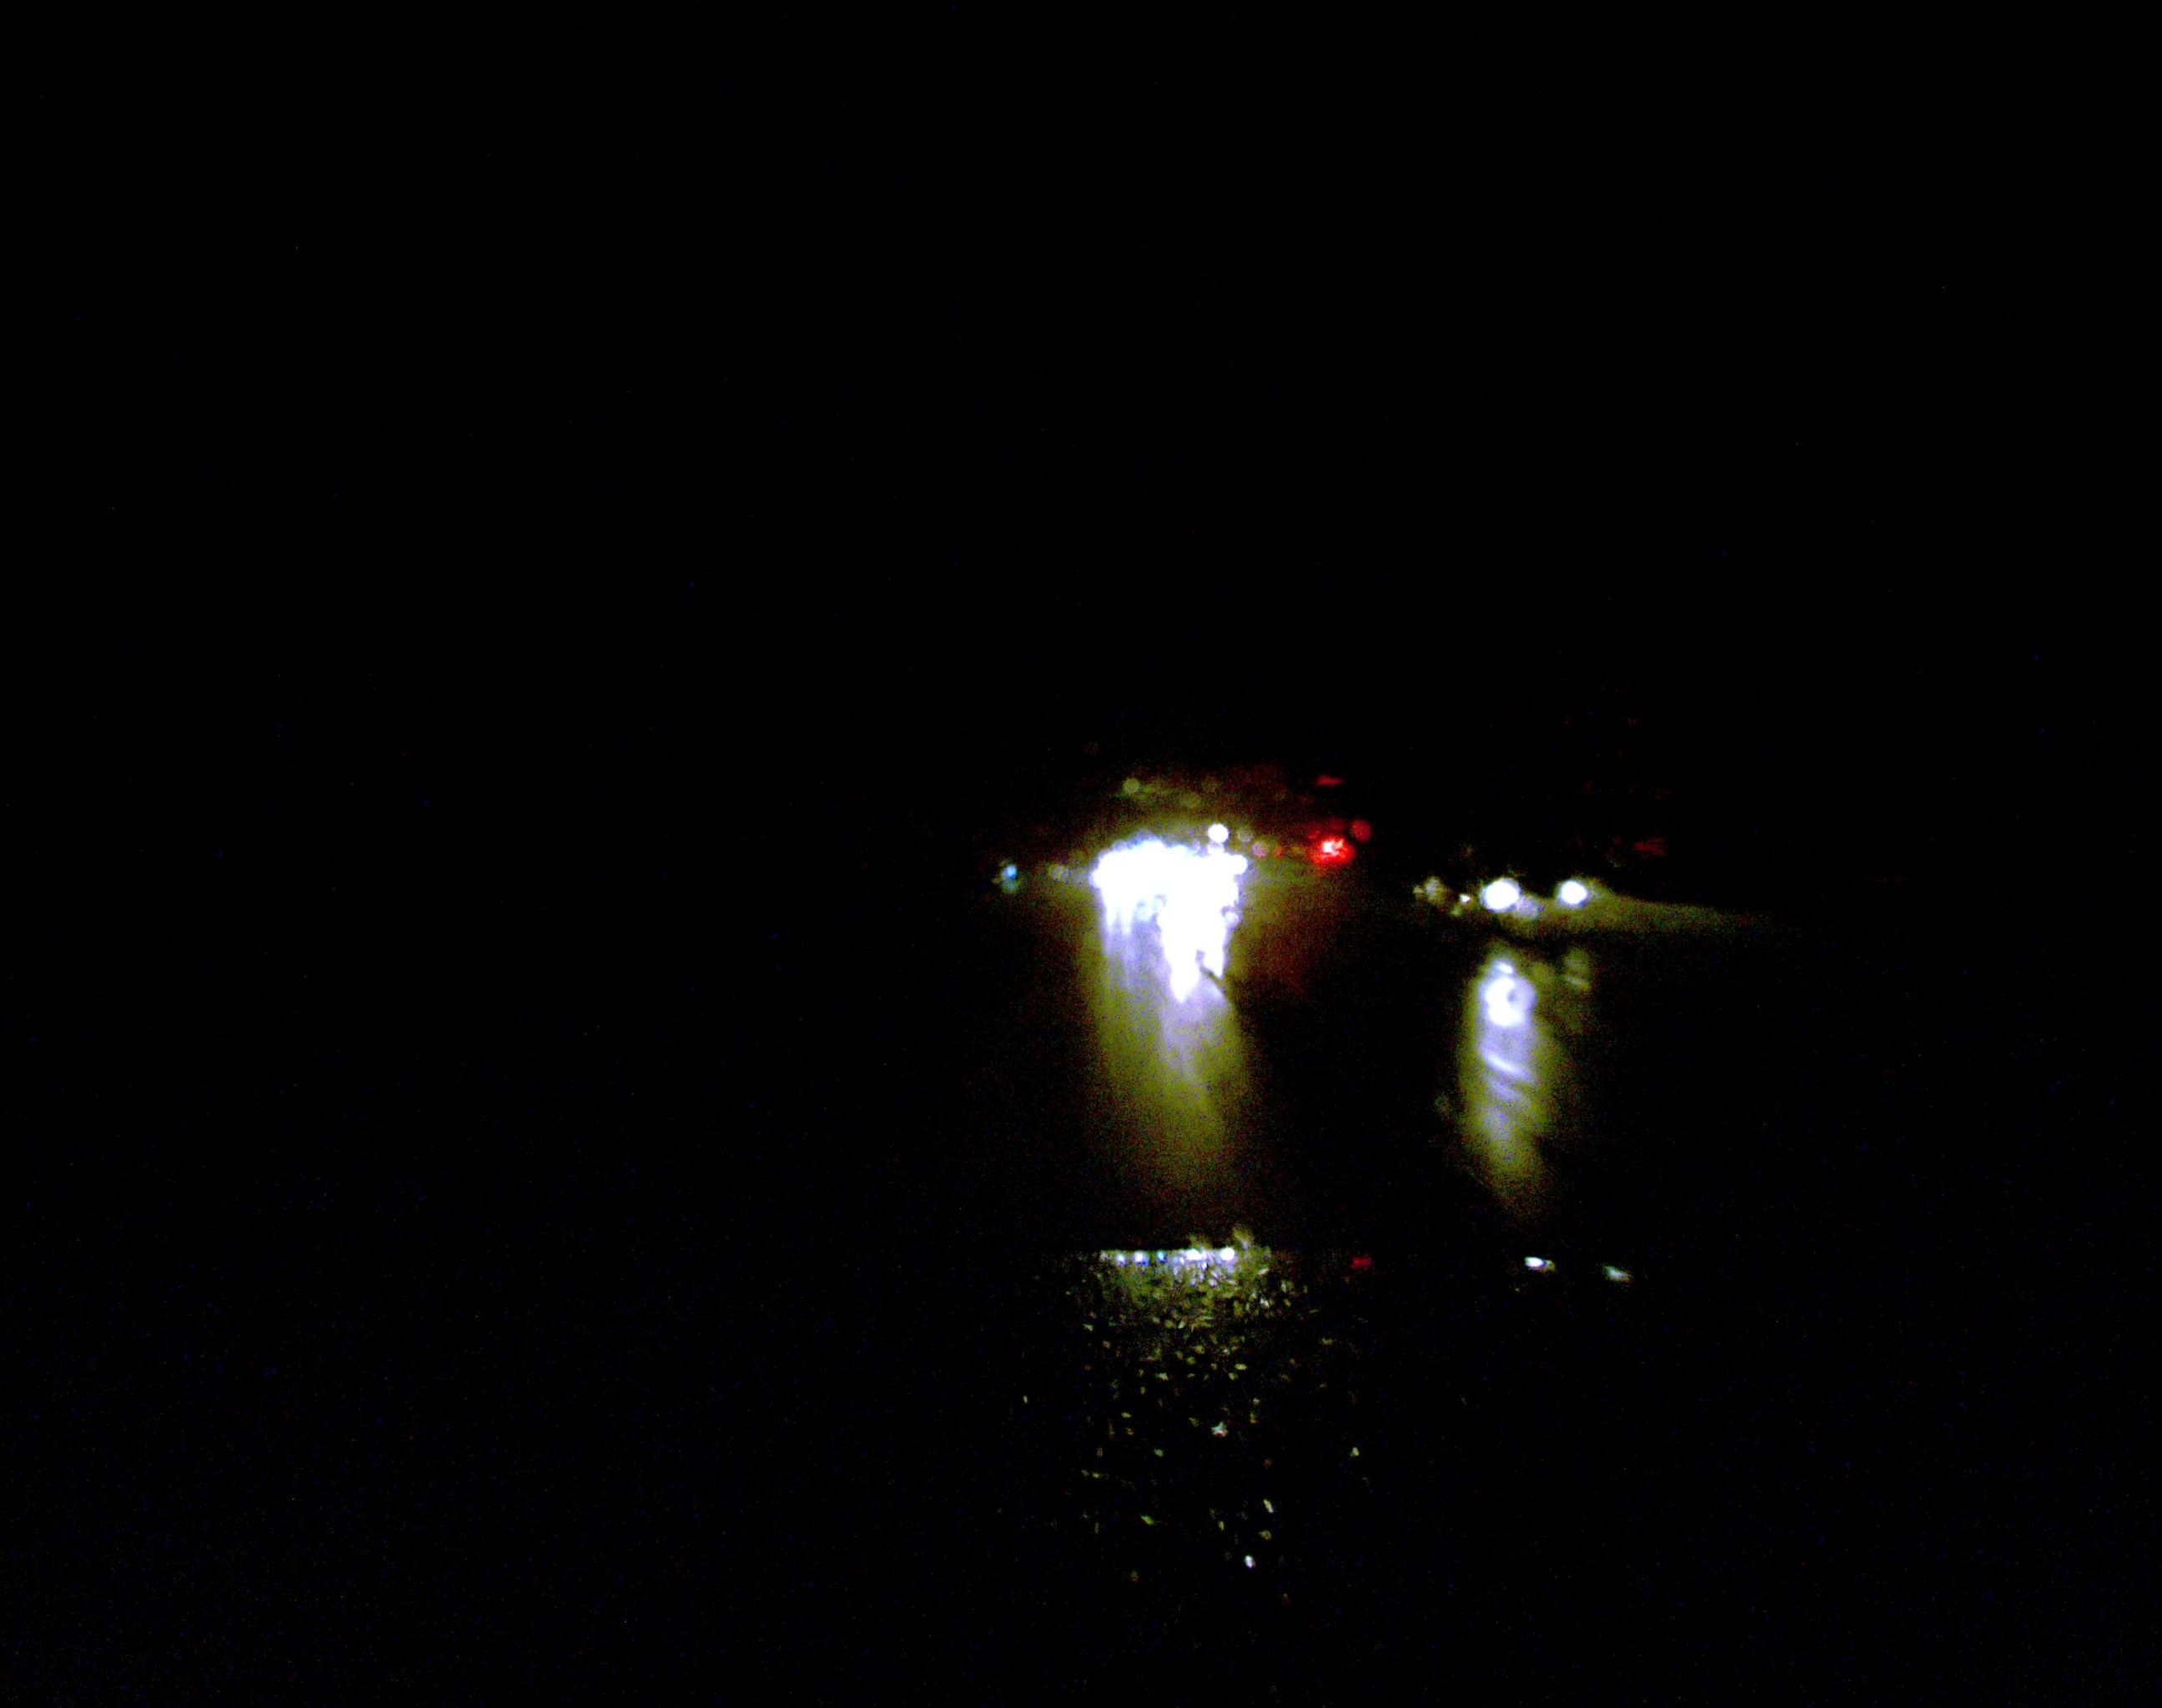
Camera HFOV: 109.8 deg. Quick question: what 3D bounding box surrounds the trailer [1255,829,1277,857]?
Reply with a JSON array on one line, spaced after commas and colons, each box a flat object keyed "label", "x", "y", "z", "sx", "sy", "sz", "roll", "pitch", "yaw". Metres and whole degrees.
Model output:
[{"label": "trailer", "x": 31.713, "y": -2.025, "z": 130.353, "sx": 2.580, "sy": 4.431, "sz": 12.499, "roll": -3, "pitch": 1, "yaw": 10}]

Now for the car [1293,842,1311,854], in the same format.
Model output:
[{"label": "car", "x": 33.994, "y": -0.967, "z": 117.077, "sx": 1.997, "sy": 1.718, "sz": 4.001, "roll": -3, "pitch": 1, "yaw": 7}]

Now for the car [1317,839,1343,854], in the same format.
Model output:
[{"label": "car", "x": 29.850, "y": -0.890, "z": 91.061, "sx": 1.902, "sy": 1.634, "sz": 4.197, "roll": -3, "pitch": 1, "yaw": 4}]

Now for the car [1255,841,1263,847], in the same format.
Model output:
[{"label": "car", "x": 48.893, "y": -2.712, "z": 208.887, "sx": 1.767, "sy": 1.487, "sz": 3.805, "roll": -3, "pitch": 1, "yaw": 10}]

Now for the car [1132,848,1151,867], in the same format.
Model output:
[{"label": "car", "x": 6.817, "y": 0.401, "z": 85.305, "sx": 1.998, "sy": 2.002, "sz": 4.001, "roll": -2, "pitch": 1, "yaw": 6}]

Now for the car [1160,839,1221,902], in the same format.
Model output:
[{"label": "car", "x": 3.962, "y": 0.559, "z": 28.142, "sx": 1.754, "sy": 2.093, "sz": 4.464, "roll": -2, "pitch": 0, "yaw": 3}]

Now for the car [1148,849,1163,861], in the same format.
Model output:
[{"label": "car", "x": 13.279, "y": 0.201, "z": 136.166, "sx": 1.999, "sy": 2.002, "sz": 3.999, "roll": -2, "pitch": 0, "yaw": -4}]

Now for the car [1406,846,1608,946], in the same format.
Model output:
[{"label": "car", "x": 7.657, "y": 0.678, "z": 14.115, "sx": 1.653, "sy": 1.566, "sz": 3.849, "roll": -1, "pitch": 0, "yaw": 2}]

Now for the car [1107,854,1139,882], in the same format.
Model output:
[{"label": "car", "x": 2.770, "y": 0.876, "z": 48.982, "sx": 1.892, "sy": 1.603, "sz": 4.001, "roll": -3, "pitch": 1, "yaw": 5}]

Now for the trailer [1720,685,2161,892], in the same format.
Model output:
[{"label": "trailer", "x": 19.565, "y": -1.231, "z": 16.684, "sx": 2.615, "sy": 3.453, "sz": 10.447, "roll": -3, "pitch": 1, "yaw": 3}]

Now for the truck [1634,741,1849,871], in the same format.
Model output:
[{"label": "truck", "x": 19.920, "y": -1.357, "z": 23.299, "sx": 2.610, "sy": 3.438, "sz": 4.641, "roll": -3, "pitch": 1, "yaw": 3}]
